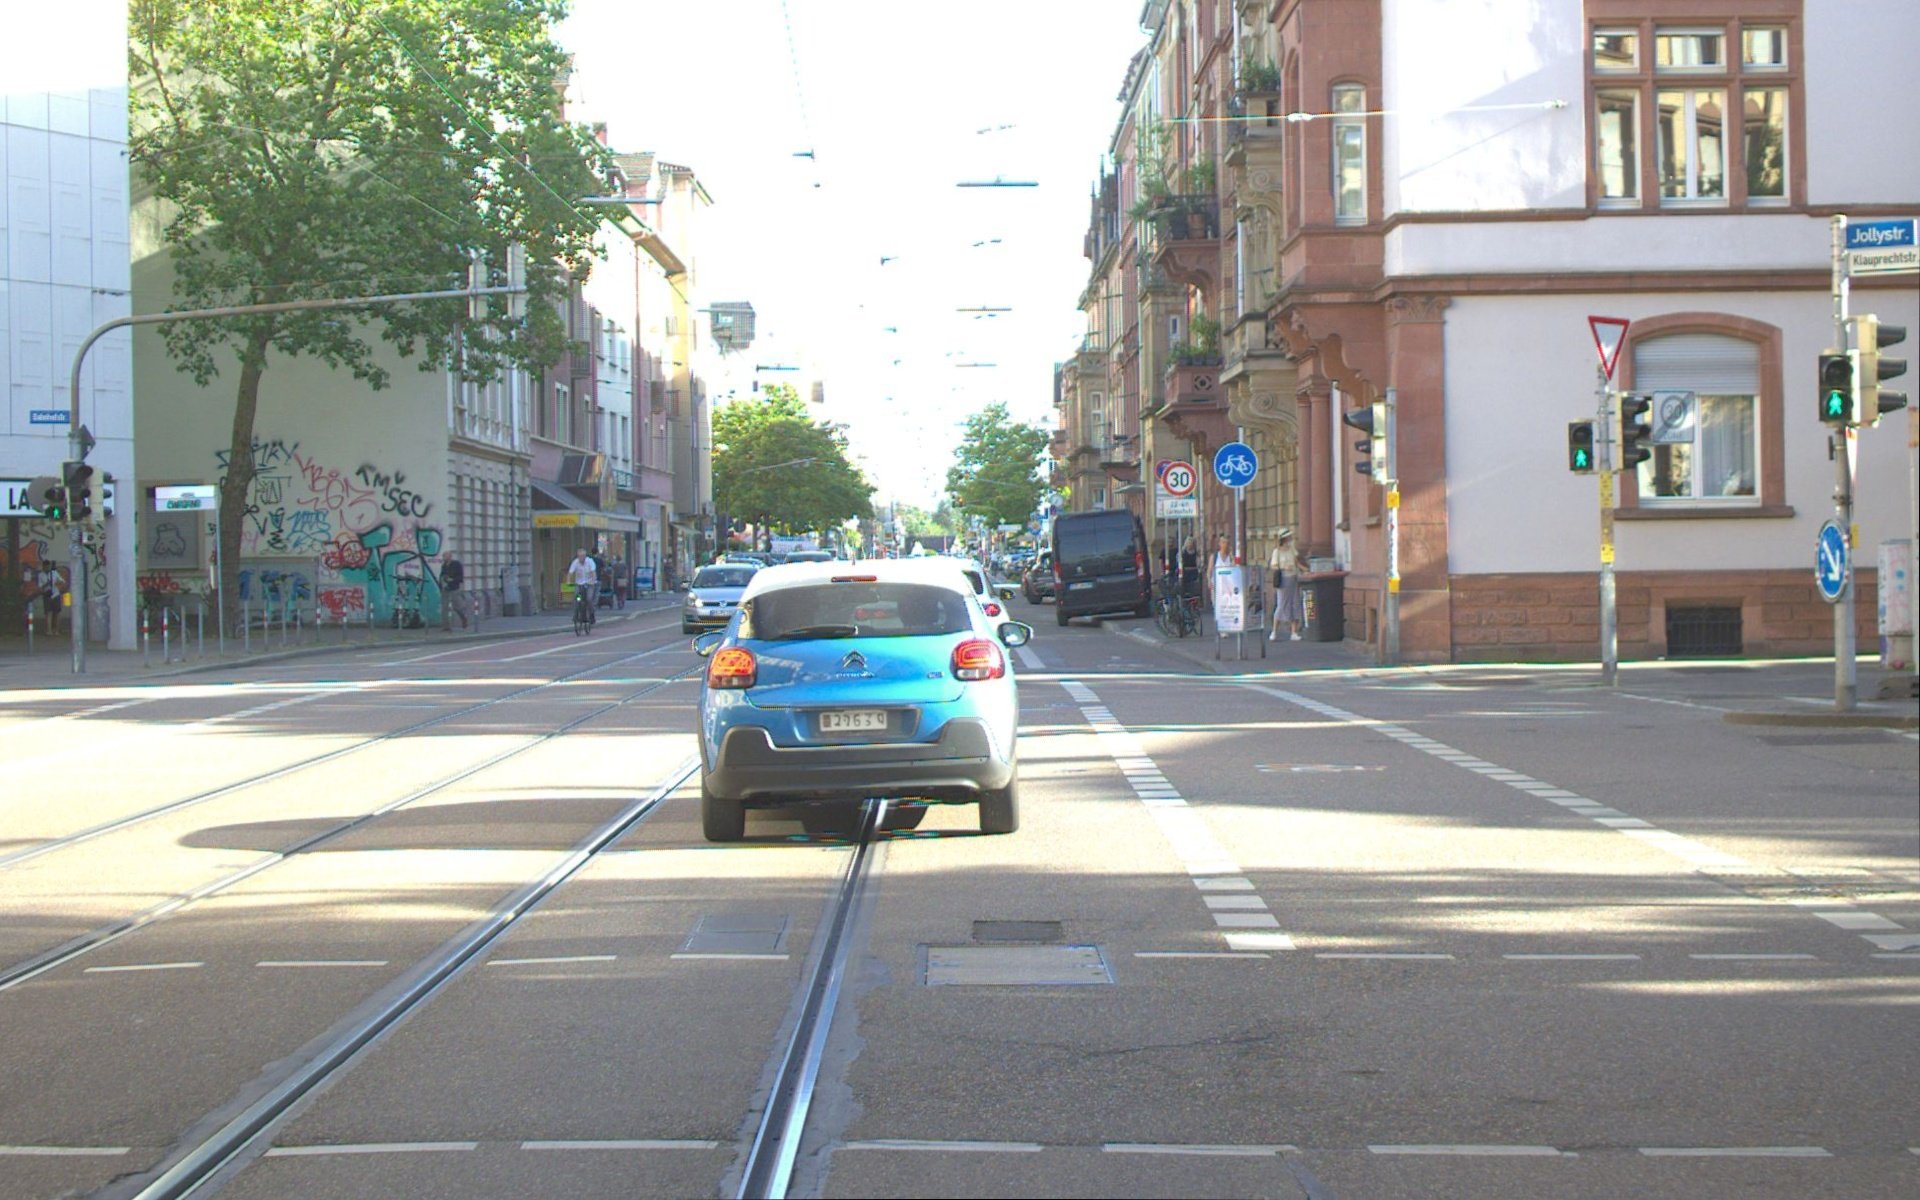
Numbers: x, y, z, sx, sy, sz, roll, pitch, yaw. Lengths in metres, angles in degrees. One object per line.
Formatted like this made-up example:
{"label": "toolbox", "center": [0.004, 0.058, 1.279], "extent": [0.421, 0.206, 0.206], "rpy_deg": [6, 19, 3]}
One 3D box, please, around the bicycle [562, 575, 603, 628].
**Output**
{"label": "bicycle", "center": [-8.240, 0.022, 75.035], "extent": [0.692, 1.116, 2.084], "rpy_deg": [-1, 1, -1]}

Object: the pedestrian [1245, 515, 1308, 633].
{"label": "pedestrian", "center": [5.002, -0.413, 54.358], "extent": [0.705, 1.776, 0.673], "rpy_deg": [-7, 1, -1]}

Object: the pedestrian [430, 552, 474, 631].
{"label": "pedestrian", "center": [-11.508, -0.194, 77.901], "extent": [0.682, 1.759, 1.025], "rpy_deg": [-1, 1, 10]}

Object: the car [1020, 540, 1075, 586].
{"label": "car", "center": [3.317, -1.399, 129.911], "extent": [2.005, 1.667, 4.391], "rpy_deg": [-1, 1, 2]}

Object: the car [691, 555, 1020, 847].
{"label": "car", "center": [-0.664, 0.489, 19.653], "extent": [1.673, 1.472, 4.001], "rpy_deg": [-1, 1, -4]}

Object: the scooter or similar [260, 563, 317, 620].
{"label": "scooter or similar", "center": [-15.098, -0.189, 77.263], "extent": [1.227, 1.253, 0.768], "rpy_deg": [-1, 1, -12]}

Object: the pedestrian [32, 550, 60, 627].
{"label": "pedestrian", "center": [-20.418, -0.257, 76.836], "extent": [0.456, 1.712, 0.547], "rpy_deg": [-1, 1, -1]}

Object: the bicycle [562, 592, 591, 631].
{"label": "bicycle", "center": [-11.783, 0.361, 105.587], "extent": [0.621, 1.155, 2.066], "rpy_deg": [-1, 1, -13]}

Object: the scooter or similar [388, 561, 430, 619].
{"label": "scooter or similar", "center": [-12.588, -0.228, 78.588], "extent": [0.788, 1.267, 1.075], "rpy_deg": [2, 2, -1]}

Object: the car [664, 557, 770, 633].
{"label": "car", "center": [-5.058, -0.130, 71.951], "extent": [1.985, 1.497, 4.309], "rpy_deg": [-1, 1, -1]}

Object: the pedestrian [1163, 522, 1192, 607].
{"label": "pedestrian", "center": [5.159, -0.846, 81.536], "extent": [0.585, 2.007, 0.823], "rpy_deg": [-1, 1, -1]}

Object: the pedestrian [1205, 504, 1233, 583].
{"label": "pedestrian", "center": [5.842, -1.277, 77.483], "extent": [0.553, 1.776, 0.606], "rpy_deg": [0, 1, -1]}

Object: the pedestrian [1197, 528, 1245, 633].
{"label": "pedestrian", "center": [4.286, -0.324, 56.521], "extent": [0.626, 1.695, 0.682], "rpy_deg": [-1, 1, -9]}

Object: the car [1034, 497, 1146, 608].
{"label": "car", "center": [2.928, -1.089, 78.652], "extent": [2.271, 2.428, 5.720], "rpy_deg": [-1, 1, 0]}

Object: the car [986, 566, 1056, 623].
{"label": "car", "center": [1.863, -0.182, 106.045], "extent": [2.005, 1.667, 4.806], "rpy_deg": [-1, 1, 0]}

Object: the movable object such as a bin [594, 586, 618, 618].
{"label": "movable object such as a bin", "center": [-10.444, 0.063, 101.365], "extent": [0.610, 0.911, 0.695], "rpy_deg": [-1, 1, 0]}

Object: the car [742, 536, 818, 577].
{"label": "car", "center": [-11.492, -2.757, 219.261], "extent": [4.307, 2.572, 2.210], "rpy_deg": [-1, 1, -26]}

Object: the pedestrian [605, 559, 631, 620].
{"label": "pedestrian", "center": [-10.012, -0.307, 100.666], "extent": [0.710, 1.758, 0.570], "rpy_deg": [-1, 1, -1]}

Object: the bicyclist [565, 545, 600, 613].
{"label": "bicyclist", "center": [-8.234, -0.464, 75.039], "extent": [0.682, 1.478, 0.778], "rpy_deg": [-1, 1, -1]}

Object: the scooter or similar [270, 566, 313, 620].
{"label": "scooter or similar", "center": [-15.228, -0.166, 78.329], "extent": [0.937, 1.218, 0.768], "rpy_deg": [-1, 1, -12]}

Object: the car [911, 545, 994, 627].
{"label": "car", "center": [-0.215, -0.373, 87.614], "extent": [1.993, 2.007, 4.000], "rpy_deg": [-1, 1, -1]}

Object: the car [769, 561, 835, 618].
{"label": "car", "center": [-5.046, -0.354, 110.435], "extent": [1.993, 1.738, 4.563], "rpy_deg": [-1, 1, -1]}

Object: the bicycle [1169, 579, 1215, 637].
{"label": "bicycle", "center": [3.925, 0.124, 58.306], "extent": [0.431, 0.944, 1.764], "rpy_deg": [-1, 1, -7]}

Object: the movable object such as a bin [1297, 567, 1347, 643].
{"label": "movable object such as a bin", "center": [5.547, 0.079, 52.676], "extent": [0.666, 1.150, 0.594], "rpy_deg": [-1, 1, -2]}

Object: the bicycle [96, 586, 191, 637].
{"label": "bicycle", "center": [-16.814, 0.233, 70.774], "extent": [1.918, 1.031, 0.664], "rpy_deg": [0, 1, 26]}

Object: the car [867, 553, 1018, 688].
{"label": "car", "center": [-0.241, 0.198, 40.351], "extent": [1.667, 1.473, 4.000], "rpy_deg": [-1, 1, -1]}

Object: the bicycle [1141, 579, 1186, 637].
{"label": "bicycle", "center": [3.444, 0.132, 58.240], "extent": [0.431, 0.944, 1.764], "rpy_deg": [-1, 1, -7]}

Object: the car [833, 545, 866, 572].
{"label": "car", "center": [-6.956, -2.624, 216.748], "extent": [1.993, 1.645, 4.000], "rpy_deg": [-1, 1, -1]}
